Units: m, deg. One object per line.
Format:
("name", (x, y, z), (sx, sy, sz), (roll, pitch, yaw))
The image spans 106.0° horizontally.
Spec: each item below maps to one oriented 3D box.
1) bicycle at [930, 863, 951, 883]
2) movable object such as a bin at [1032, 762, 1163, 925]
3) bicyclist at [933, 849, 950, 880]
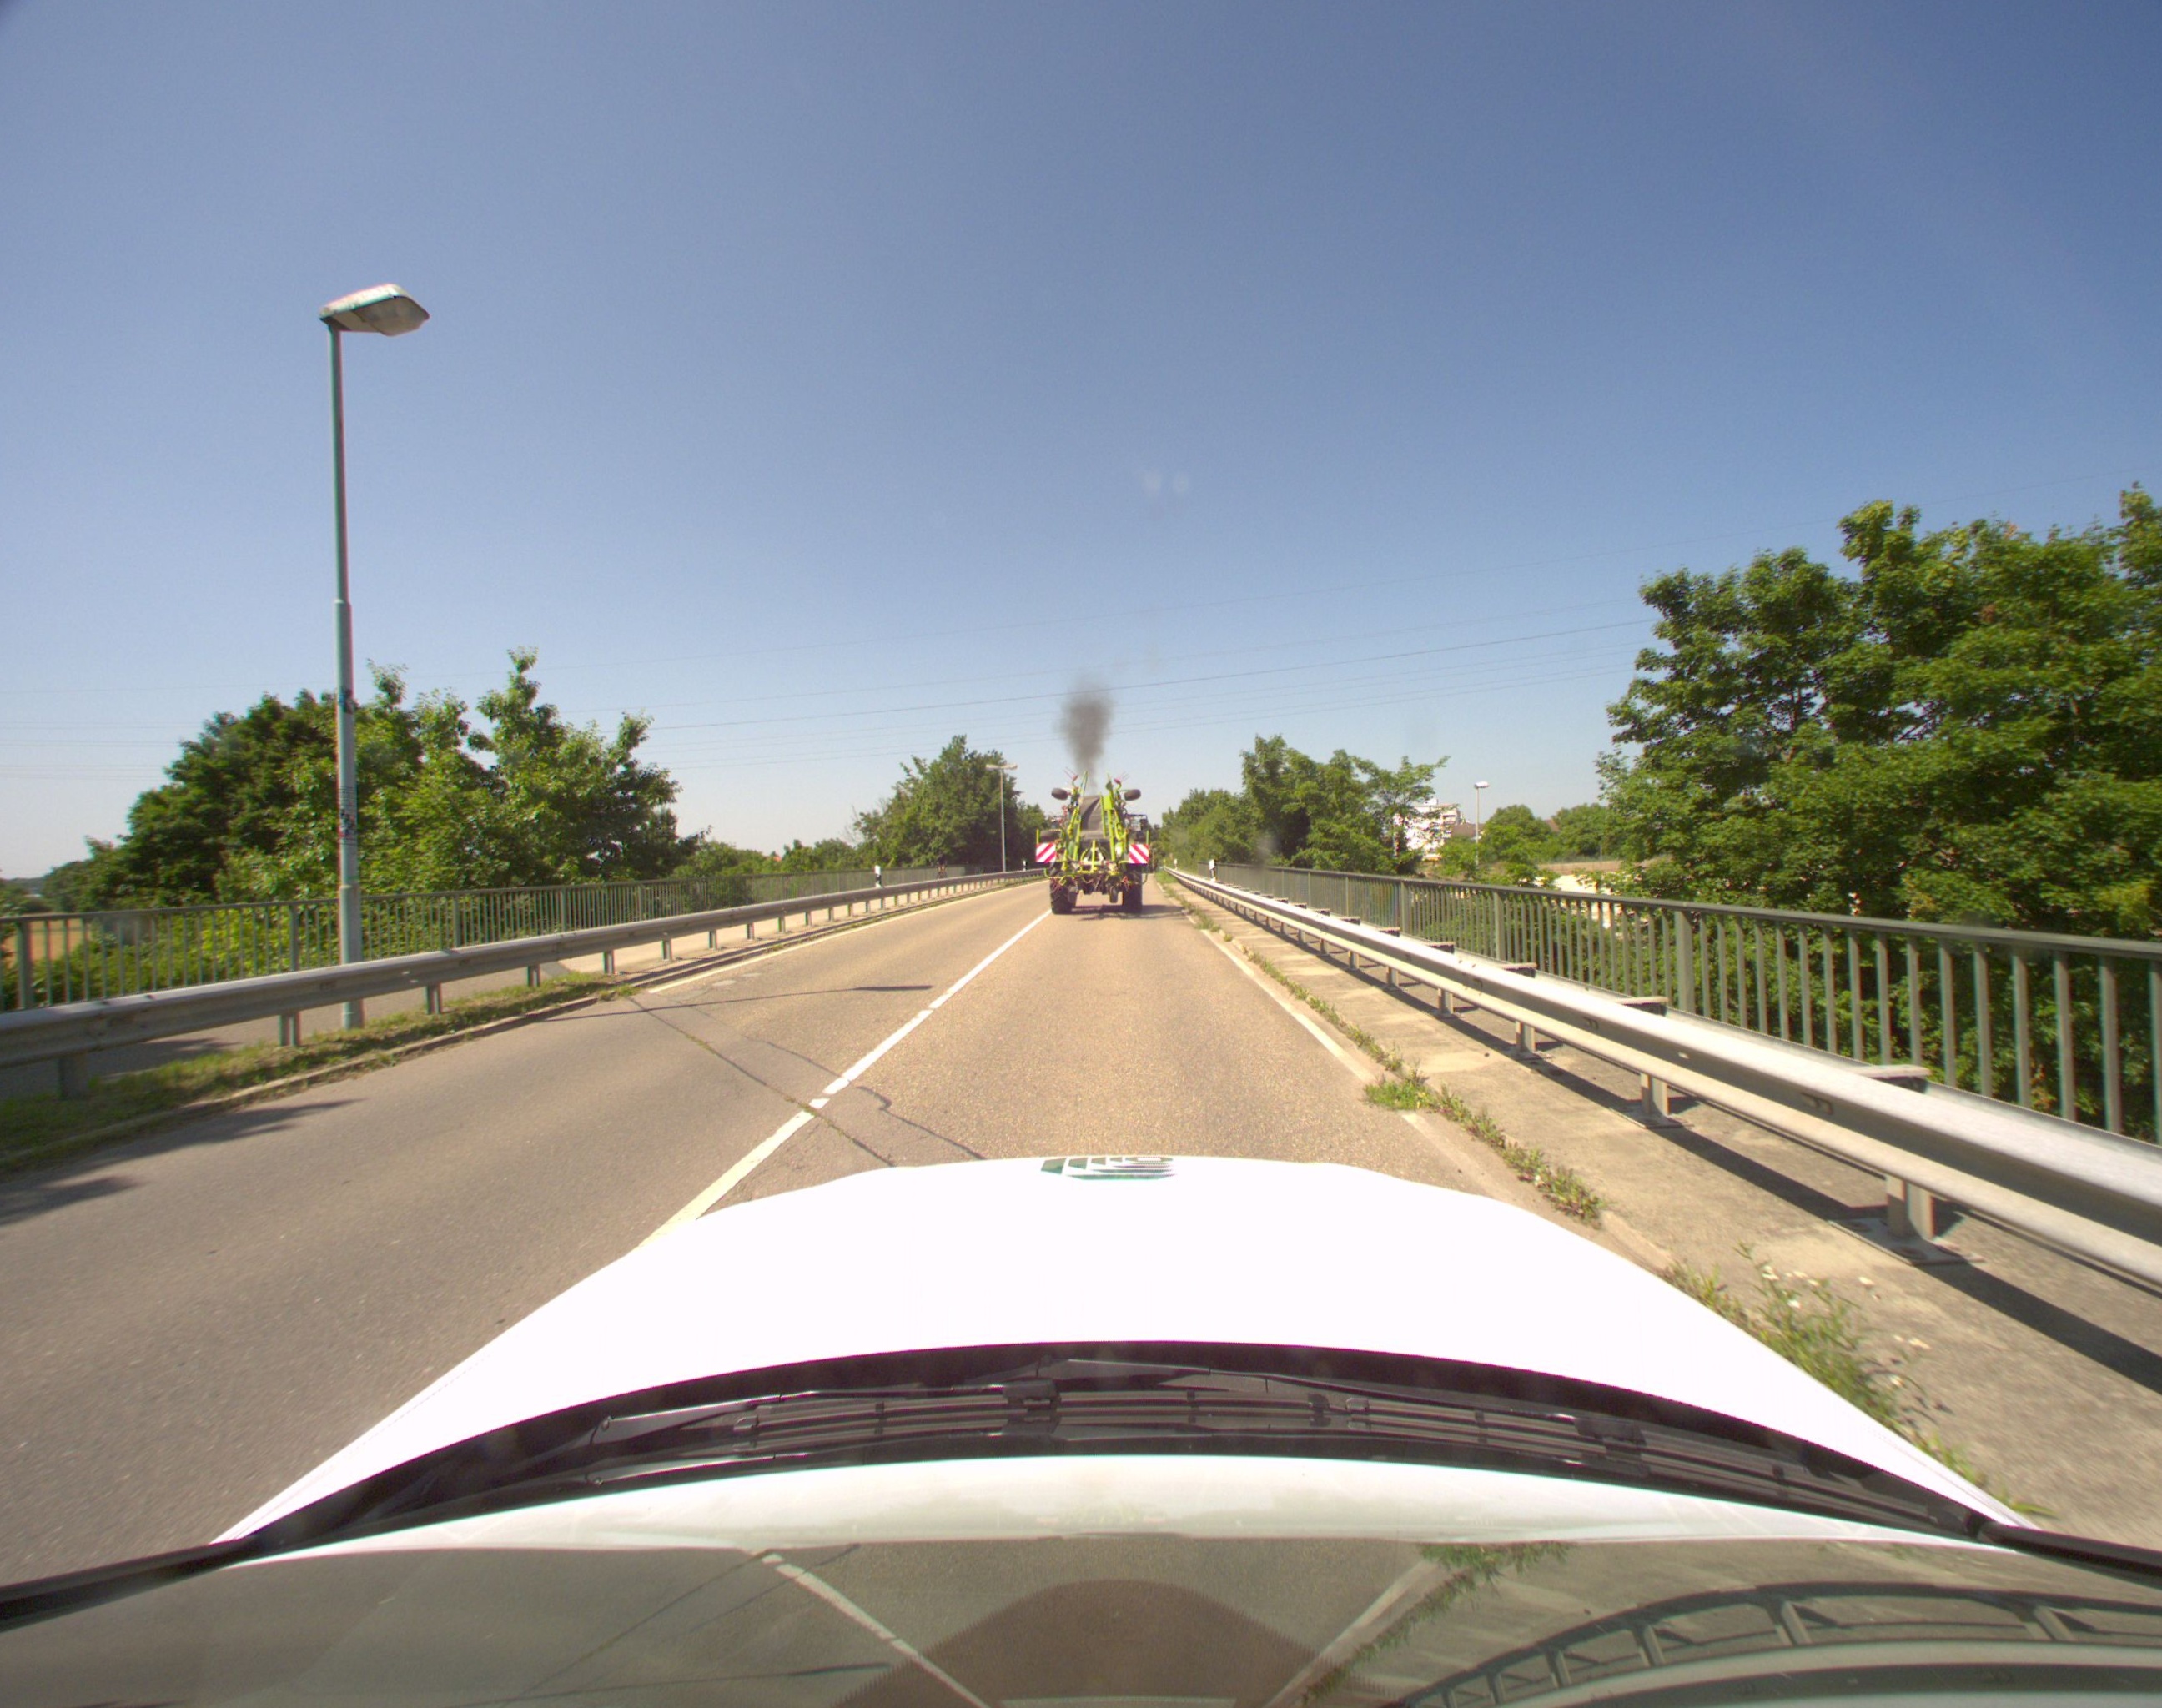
("bicycle", (-7.531, 0.998, 43.785), (0.675, 1.001, 2.119), (-2, 1, 1))
("movable object such as a bin", (0.404, -0.264, 20.441), (2.746, 3.443, 5.670), (-1, 1, 1))
("bicyclist", (-7.498, 0.579, 43.807), (0.762, 1.633, 0.895), (-1, 0, 1))
